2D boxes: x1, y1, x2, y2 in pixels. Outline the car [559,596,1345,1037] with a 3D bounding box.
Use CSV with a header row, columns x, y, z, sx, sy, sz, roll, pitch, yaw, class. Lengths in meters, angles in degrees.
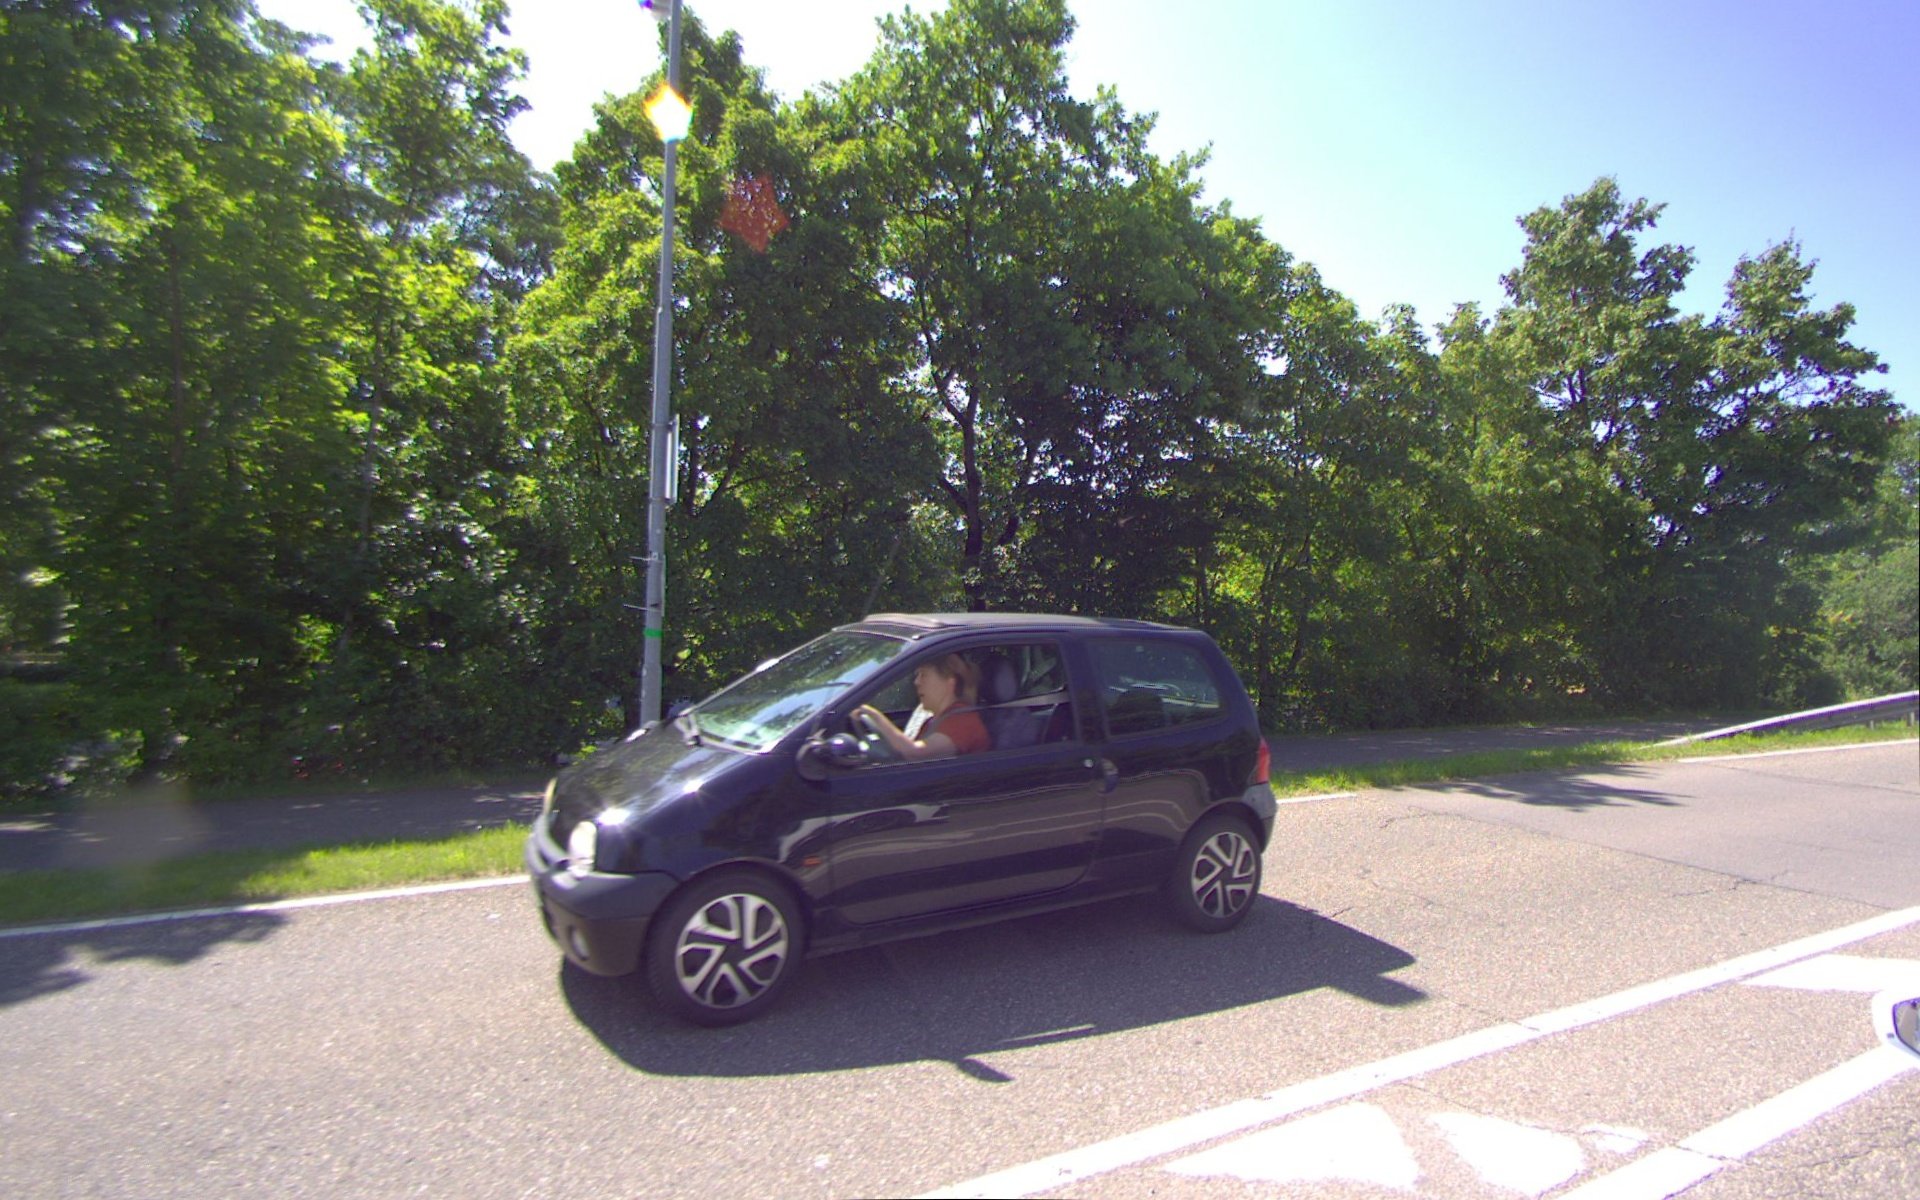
x,y,z,sx,sy,sz,roll,pitch,yaw,class
0.018,0.748,4.801,3.392,1.423,1.619,2,-1,-30,car
